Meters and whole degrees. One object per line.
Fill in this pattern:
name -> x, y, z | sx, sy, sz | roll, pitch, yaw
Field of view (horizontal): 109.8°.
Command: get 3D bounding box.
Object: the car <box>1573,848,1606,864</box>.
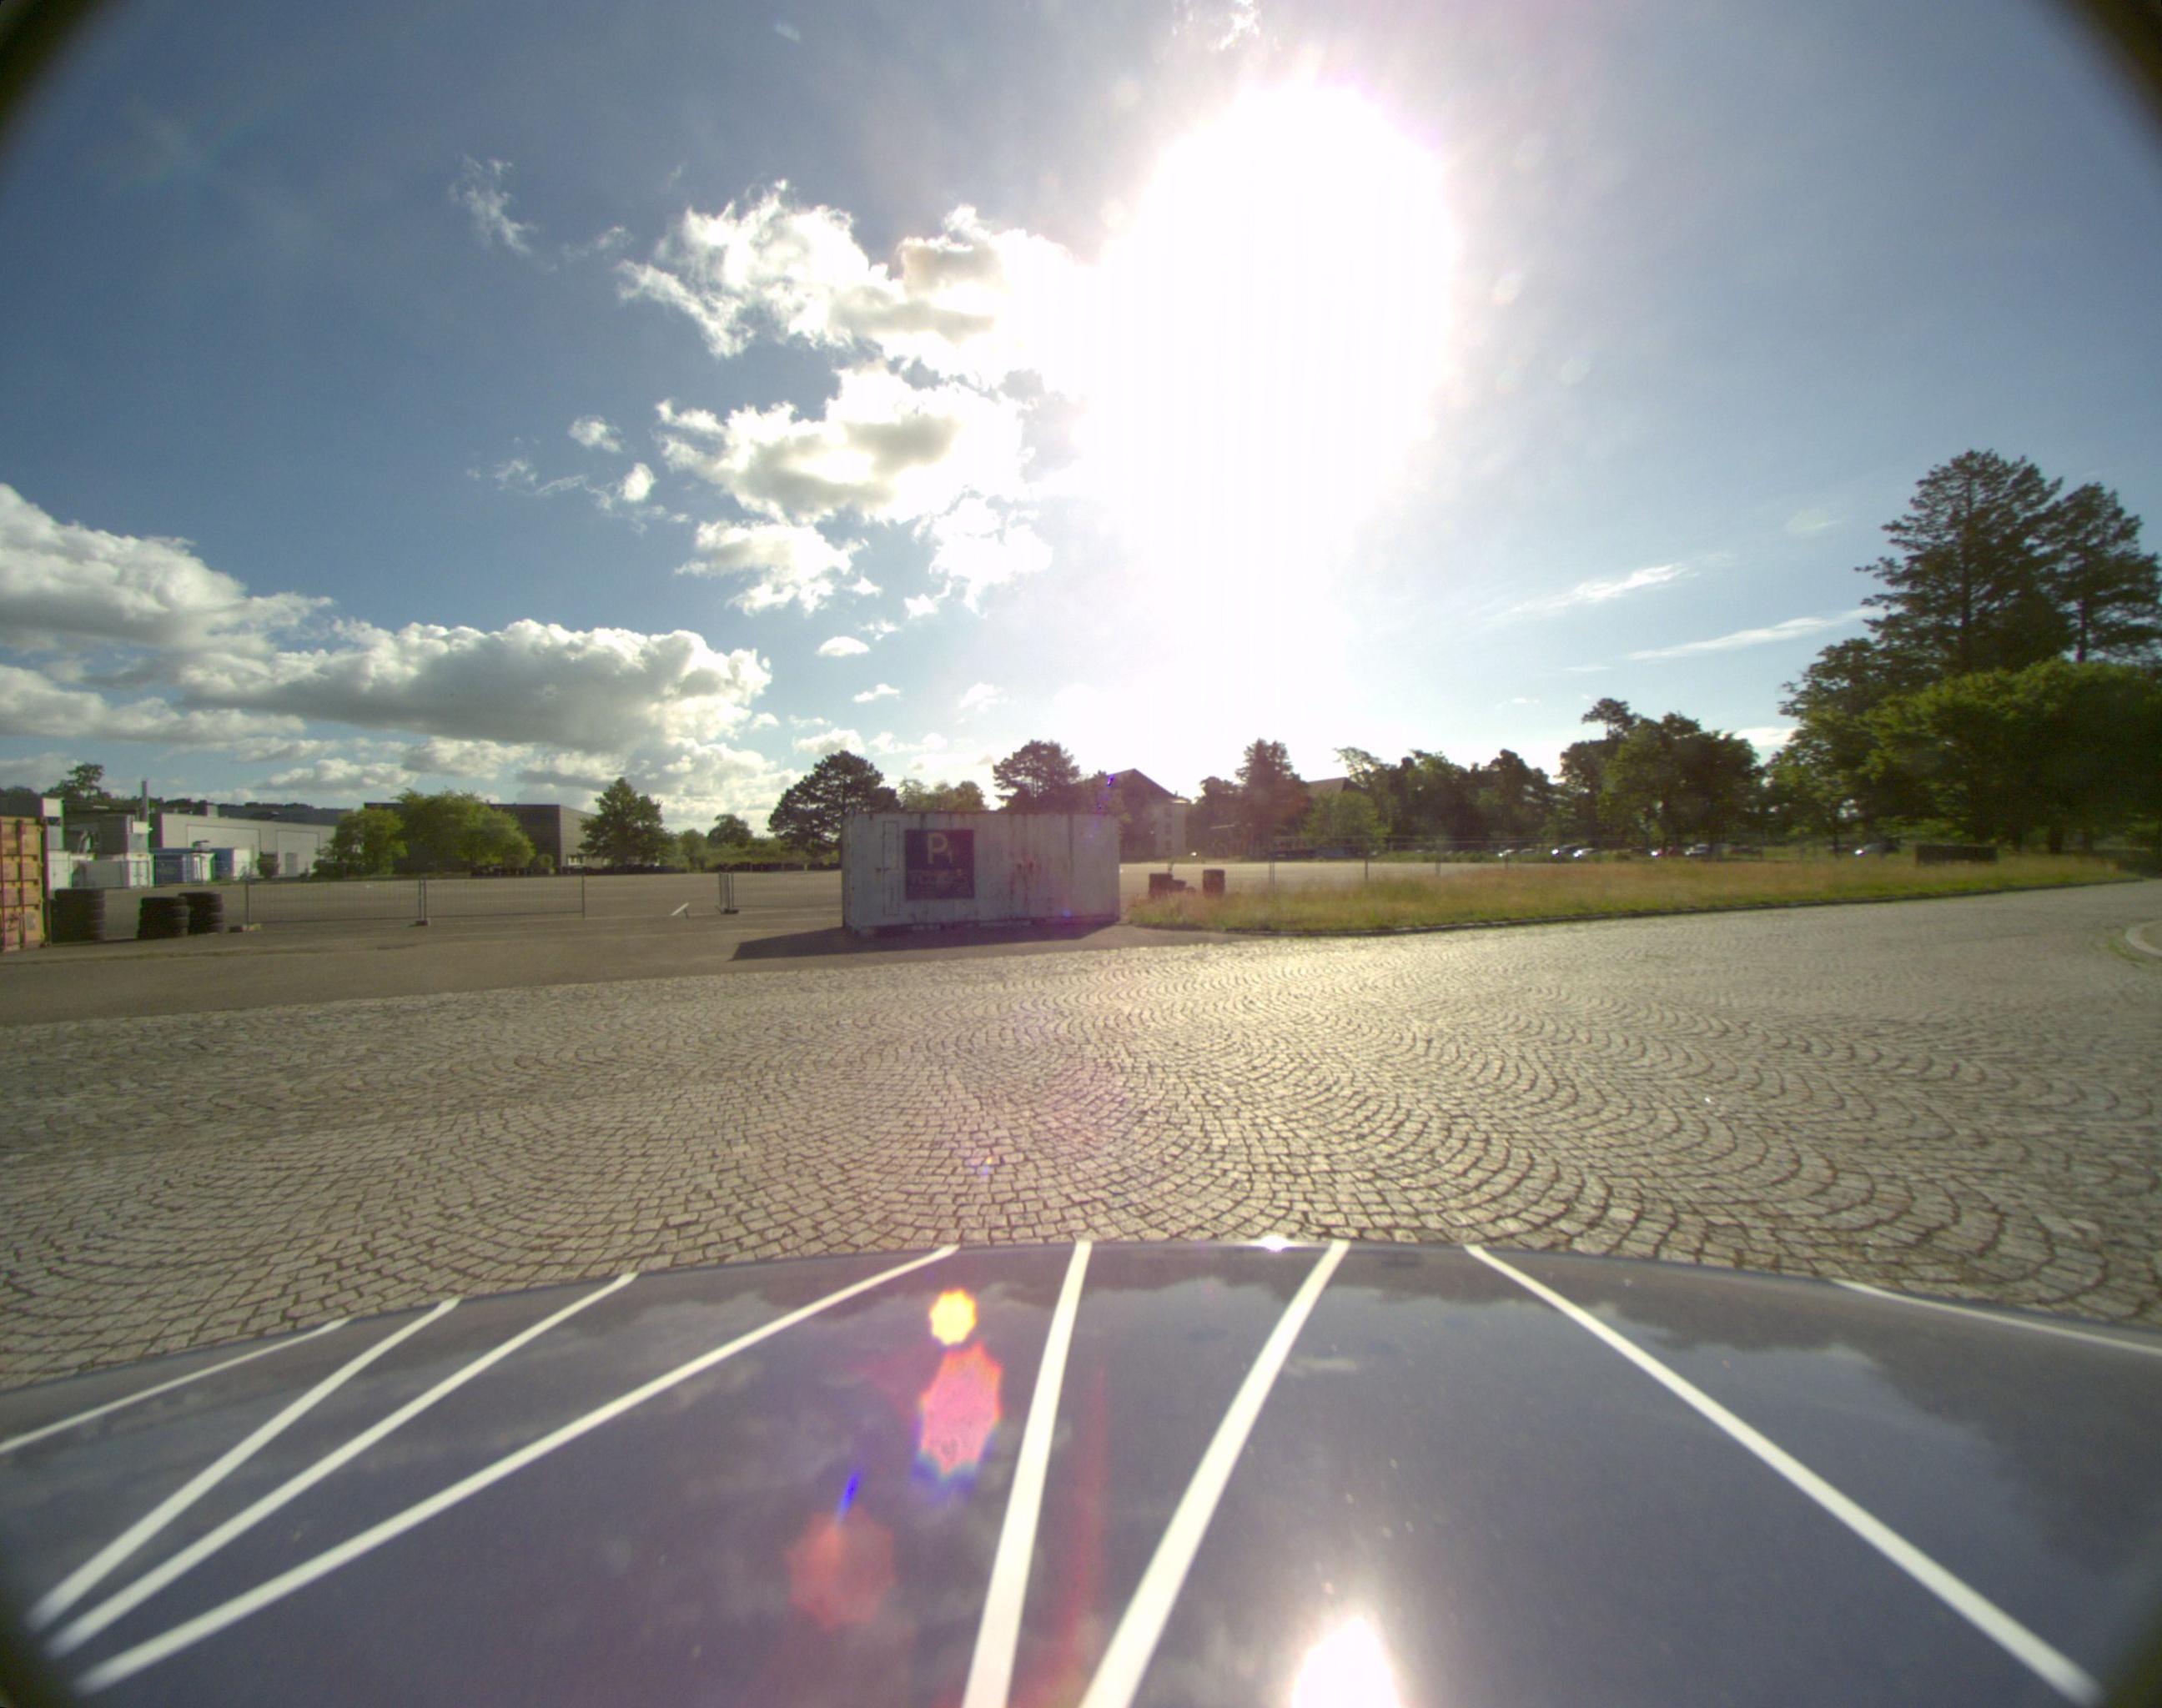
car -> 64.622, 0.250, 96.594 | 3.856, 2.002, 1.739 | -1, 1, -24

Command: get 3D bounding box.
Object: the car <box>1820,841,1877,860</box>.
car -> 75.138, -0.361, 74.374 | 4.353, 1.828, 2.243 | -1, 1, -19

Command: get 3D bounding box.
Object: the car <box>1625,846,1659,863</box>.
car -> 67.082, 0.059, 90.902 | 3.624, 2.002, 1.739 | -1, 1, -24

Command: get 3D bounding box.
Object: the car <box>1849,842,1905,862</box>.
car -> 75.304, -0.219, 71.878 | 4.354, 1.828, 2.243 | -1, 1, -22

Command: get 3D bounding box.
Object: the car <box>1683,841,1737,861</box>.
car -> 70.637, -0.347, 85.282 | 6.040, 2.001, 1.997 | -3, 0, -23

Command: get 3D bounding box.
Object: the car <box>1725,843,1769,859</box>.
car -> 71.456, -0.365, 81.524 | 4.005, 1.642, 1.996 | -1, 1, -24

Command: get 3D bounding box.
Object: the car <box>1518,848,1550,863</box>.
car -> 61.885, 0.178, 103.867 | 3.855, 2.002, 1.739 | -1, 1, -22

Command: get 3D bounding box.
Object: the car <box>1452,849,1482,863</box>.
car -> 58.031, 0.332, 114.215 | 4.005, 2.002, 1.996 | -1, 0, -24

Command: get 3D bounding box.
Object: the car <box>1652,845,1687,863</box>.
car -> 68.473, -0.038, 88.451 | 3.624, 2.002, 1.739 | -1, 1, -24

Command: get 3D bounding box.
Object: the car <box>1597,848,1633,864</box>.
car -> 66.804, 0.227, 95.051 | 4.005, 2.002, 1.996 | -1, 0, -25

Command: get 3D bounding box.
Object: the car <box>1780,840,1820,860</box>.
car -> 73.875, -0.426, 78.088 | 3.624, 2.002, 1.739 | -1, 1, -24
